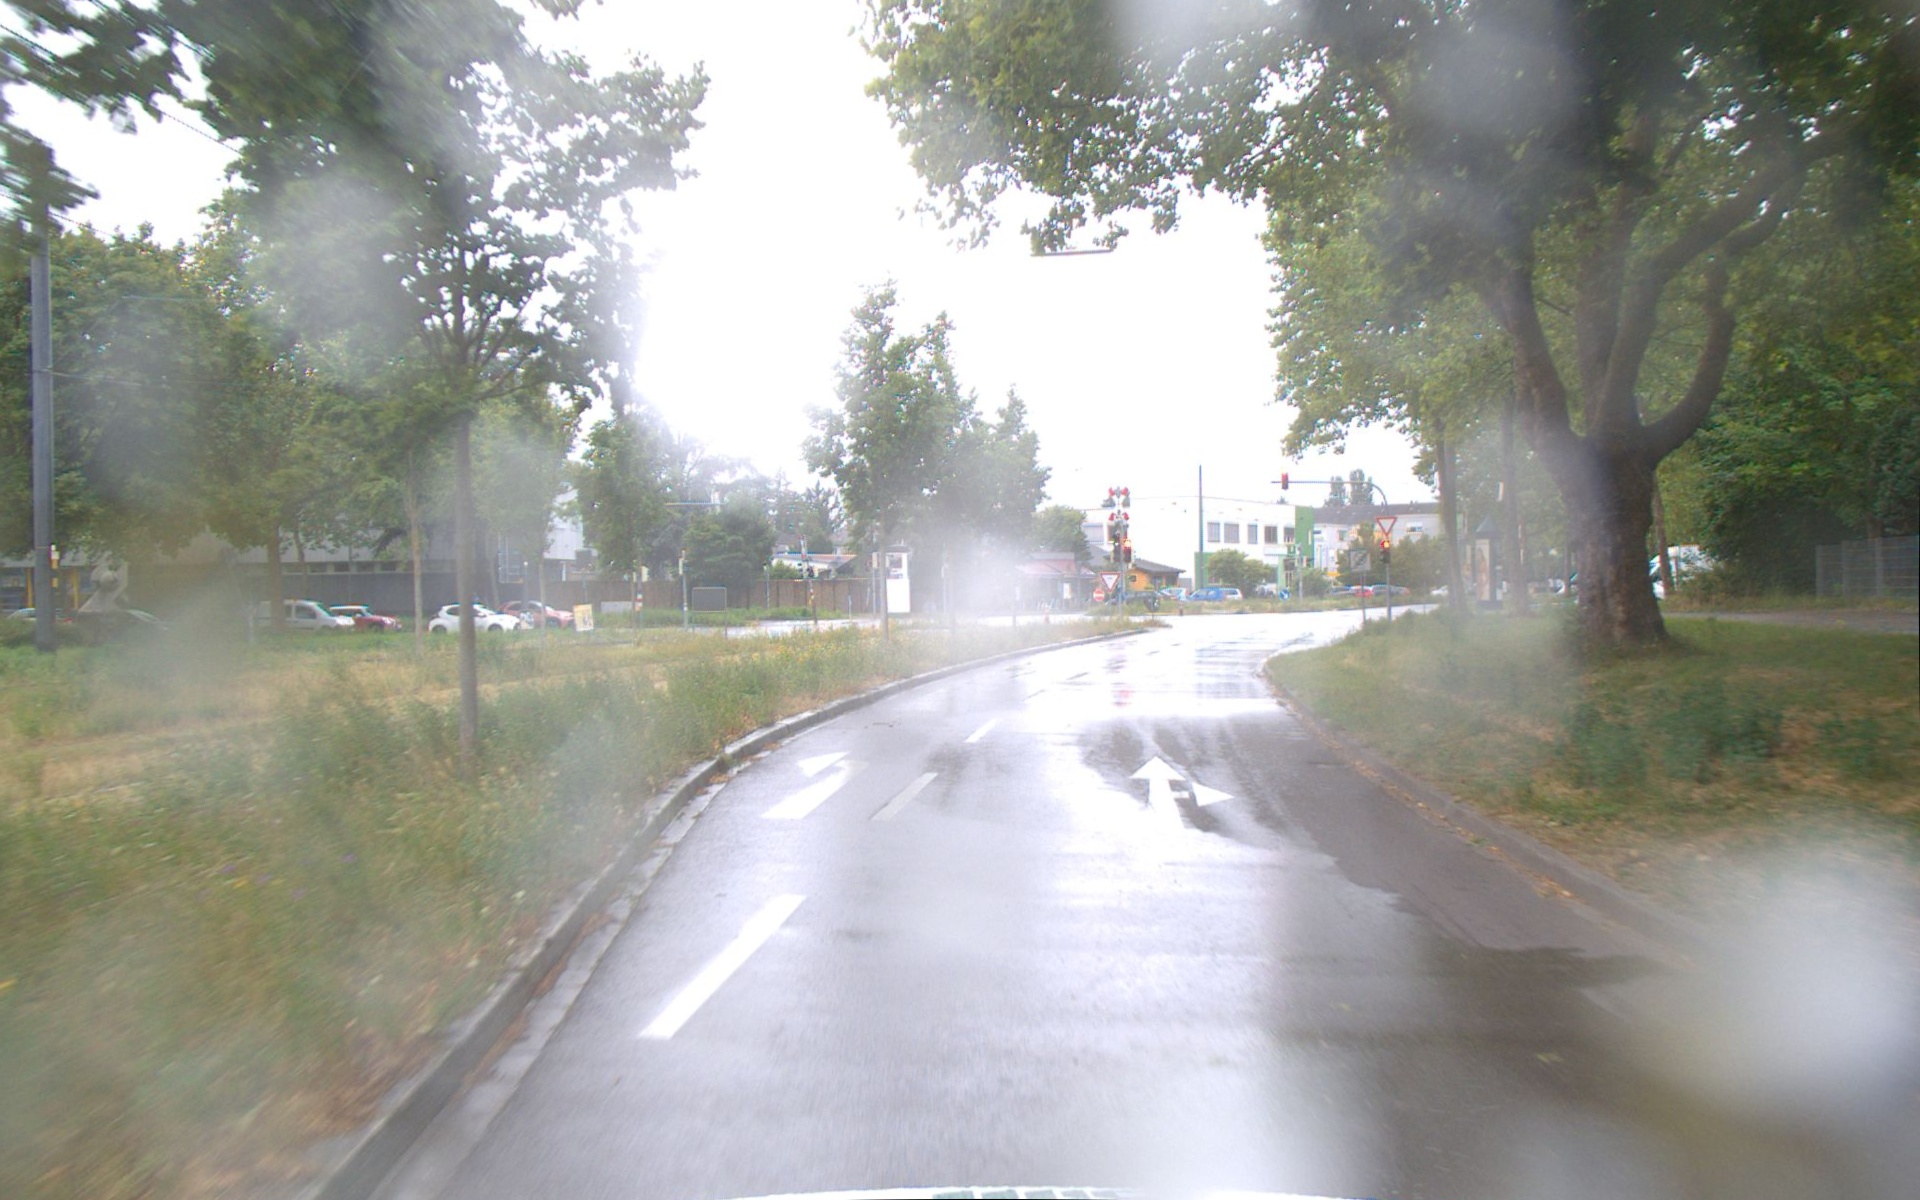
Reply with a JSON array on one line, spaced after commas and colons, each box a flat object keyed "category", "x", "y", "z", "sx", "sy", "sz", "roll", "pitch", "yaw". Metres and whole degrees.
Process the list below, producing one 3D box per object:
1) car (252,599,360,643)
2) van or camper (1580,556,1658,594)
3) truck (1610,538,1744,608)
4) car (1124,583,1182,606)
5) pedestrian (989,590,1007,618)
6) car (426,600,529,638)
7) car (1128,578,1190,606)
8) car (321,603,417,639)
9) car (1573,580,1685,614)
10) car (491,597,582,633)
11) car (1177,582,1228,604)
[{"category": "car", "x": -29.212, "y": 0.911, "z": 73.966, "sx": 4.120, "sy": 1.827, "sz": 1.653, "roll": -1, "pitch": 1, "yaw": 5}, {"category": "van or camper", "x": 49.221, "y": -1.874, "z": 123.560, "sx": 5.129, "sy": 2.744, "sz": 2.237, "roll": 1, "pitch": 1, "yaw": 34}, {"category": "truck", "x": 33.242, "y": -1.216, "z": 76.847, "sx": 5.351, "sy": 3.112, "sz": 1.983, "roll": -1, "pitch": 0, "yaw": 12}, {"category": "car", "x": 13.392, "y": -0.390, "z": 114.758, "sx": 3.671, "sy": 1.467, "sz": 1.763, "roll": -2, "pitch": 0, "yaw": 18}, {"category": "pedestrian", "x": 2.421, "y": 0.269, "z": 106.468, "sx": 0.792, "sy": 1.794, "sz": 0.900, "roll": -1, "pitch": 0, "yaw": -29}, {"category": "car", "x": -21.340, "y": 0.834, "z": 73.218, "sx": 3.980, "sy": 1.525, "sz": 1.653, "roll": -2, "pitch": 0, "yaw": 3}, {"category": "car", "x": 14.211, "y": -0.550, "z": 118.135, "sx": 4.050, "sy": 1.892, "sz": 1.673, "roll": -2, "pitch": 0, "yaw": 22}, {"category": "car", "x": -27.437, "y": 0.960, "z": 76.884, "sx": 3.827, "sy": 1.525, "sz": 1.652, "roll": -1, "pitch": 1, "yaw": 0}, {"category": "car", "x": 30.007, "y": -0.129, "z": 74.296, "sx": 4.416, "sy": 1.414, "sz": 1.646, "roll": -1, "pitch": 0, "yaw": 12}, {"category": "car", "x": -19.651, "y": 0.699, "z": 76.858, "sx": 3.738, "sy": 1.525, "sz": 1.653, "roll": -2, "pitch": 0, "yaw": 3}, {"category": "car", "x": 17.956, "y": -0.527, "z": 122.233, "sx": 3.670, "sy": 1.467, "sz": 1.764, "roll": -2, "pitch": 0, "yaw": 9}]
